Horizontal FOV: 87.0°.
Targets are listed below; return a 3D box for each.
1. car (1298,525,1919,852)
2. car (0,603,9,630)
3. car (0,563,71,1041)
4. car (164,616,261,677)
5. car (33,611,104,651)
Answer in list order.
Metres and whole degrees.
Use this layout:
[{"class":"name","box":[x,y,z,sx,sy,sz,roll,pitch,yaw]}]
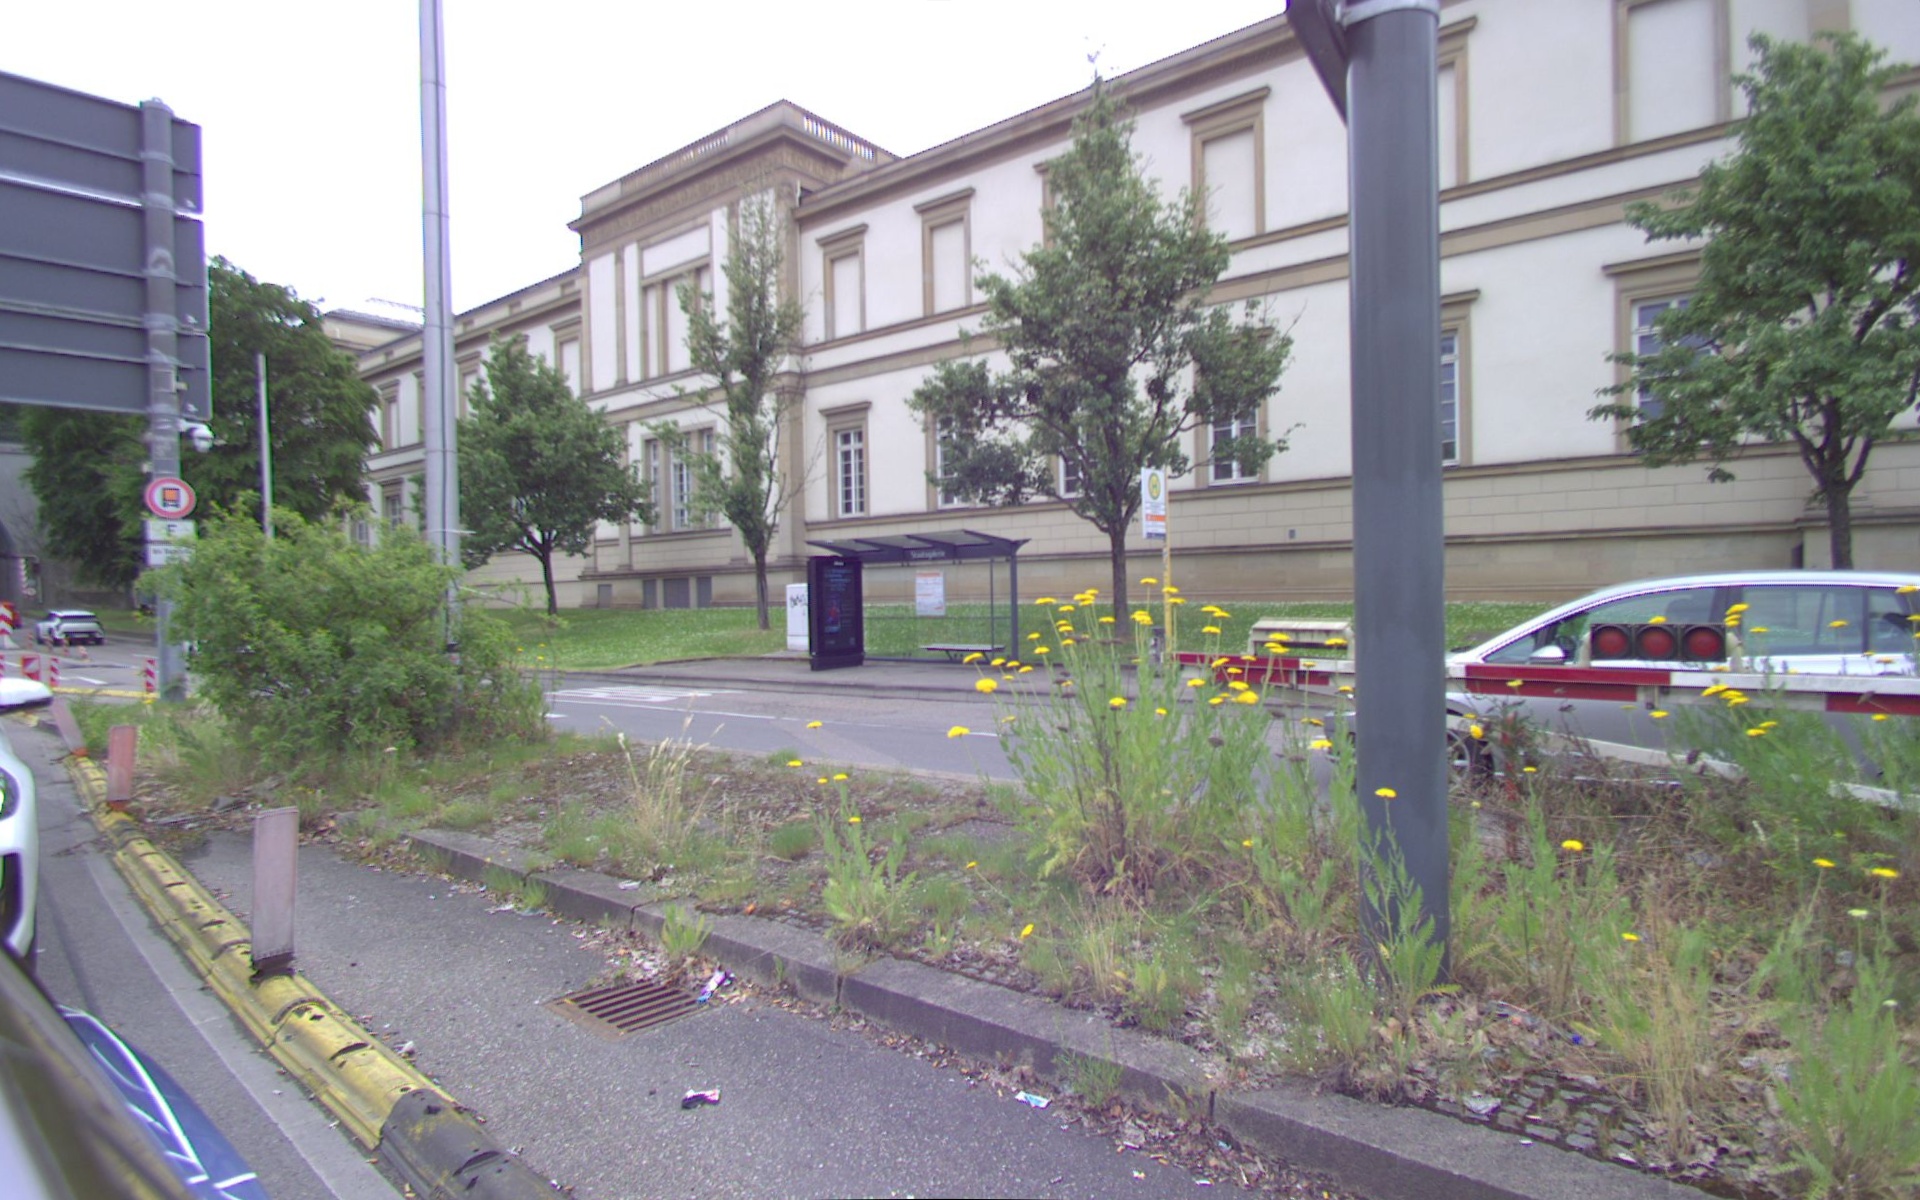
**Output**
[{"class":"car","box":[4.537,0.484,6.859,3.984,1.759,1.819,-1,0,30]},{"class":"car","box":[-55.696,0.959,57.708,3.570,1.489,1.626,-1,-1,39]},{"class":"car","box":[-5.187,0.715,4.069,3.668,1.637,1.962,-1,0,41]},{"class":"car","box":[-22.534,1.362,30.463,1.876,1.637,4.111,-1,-1,-43]},{"class":"car","box":[-40.799,1.374,46.286,4.265,1.704,1.851,-1,0,40]}]
